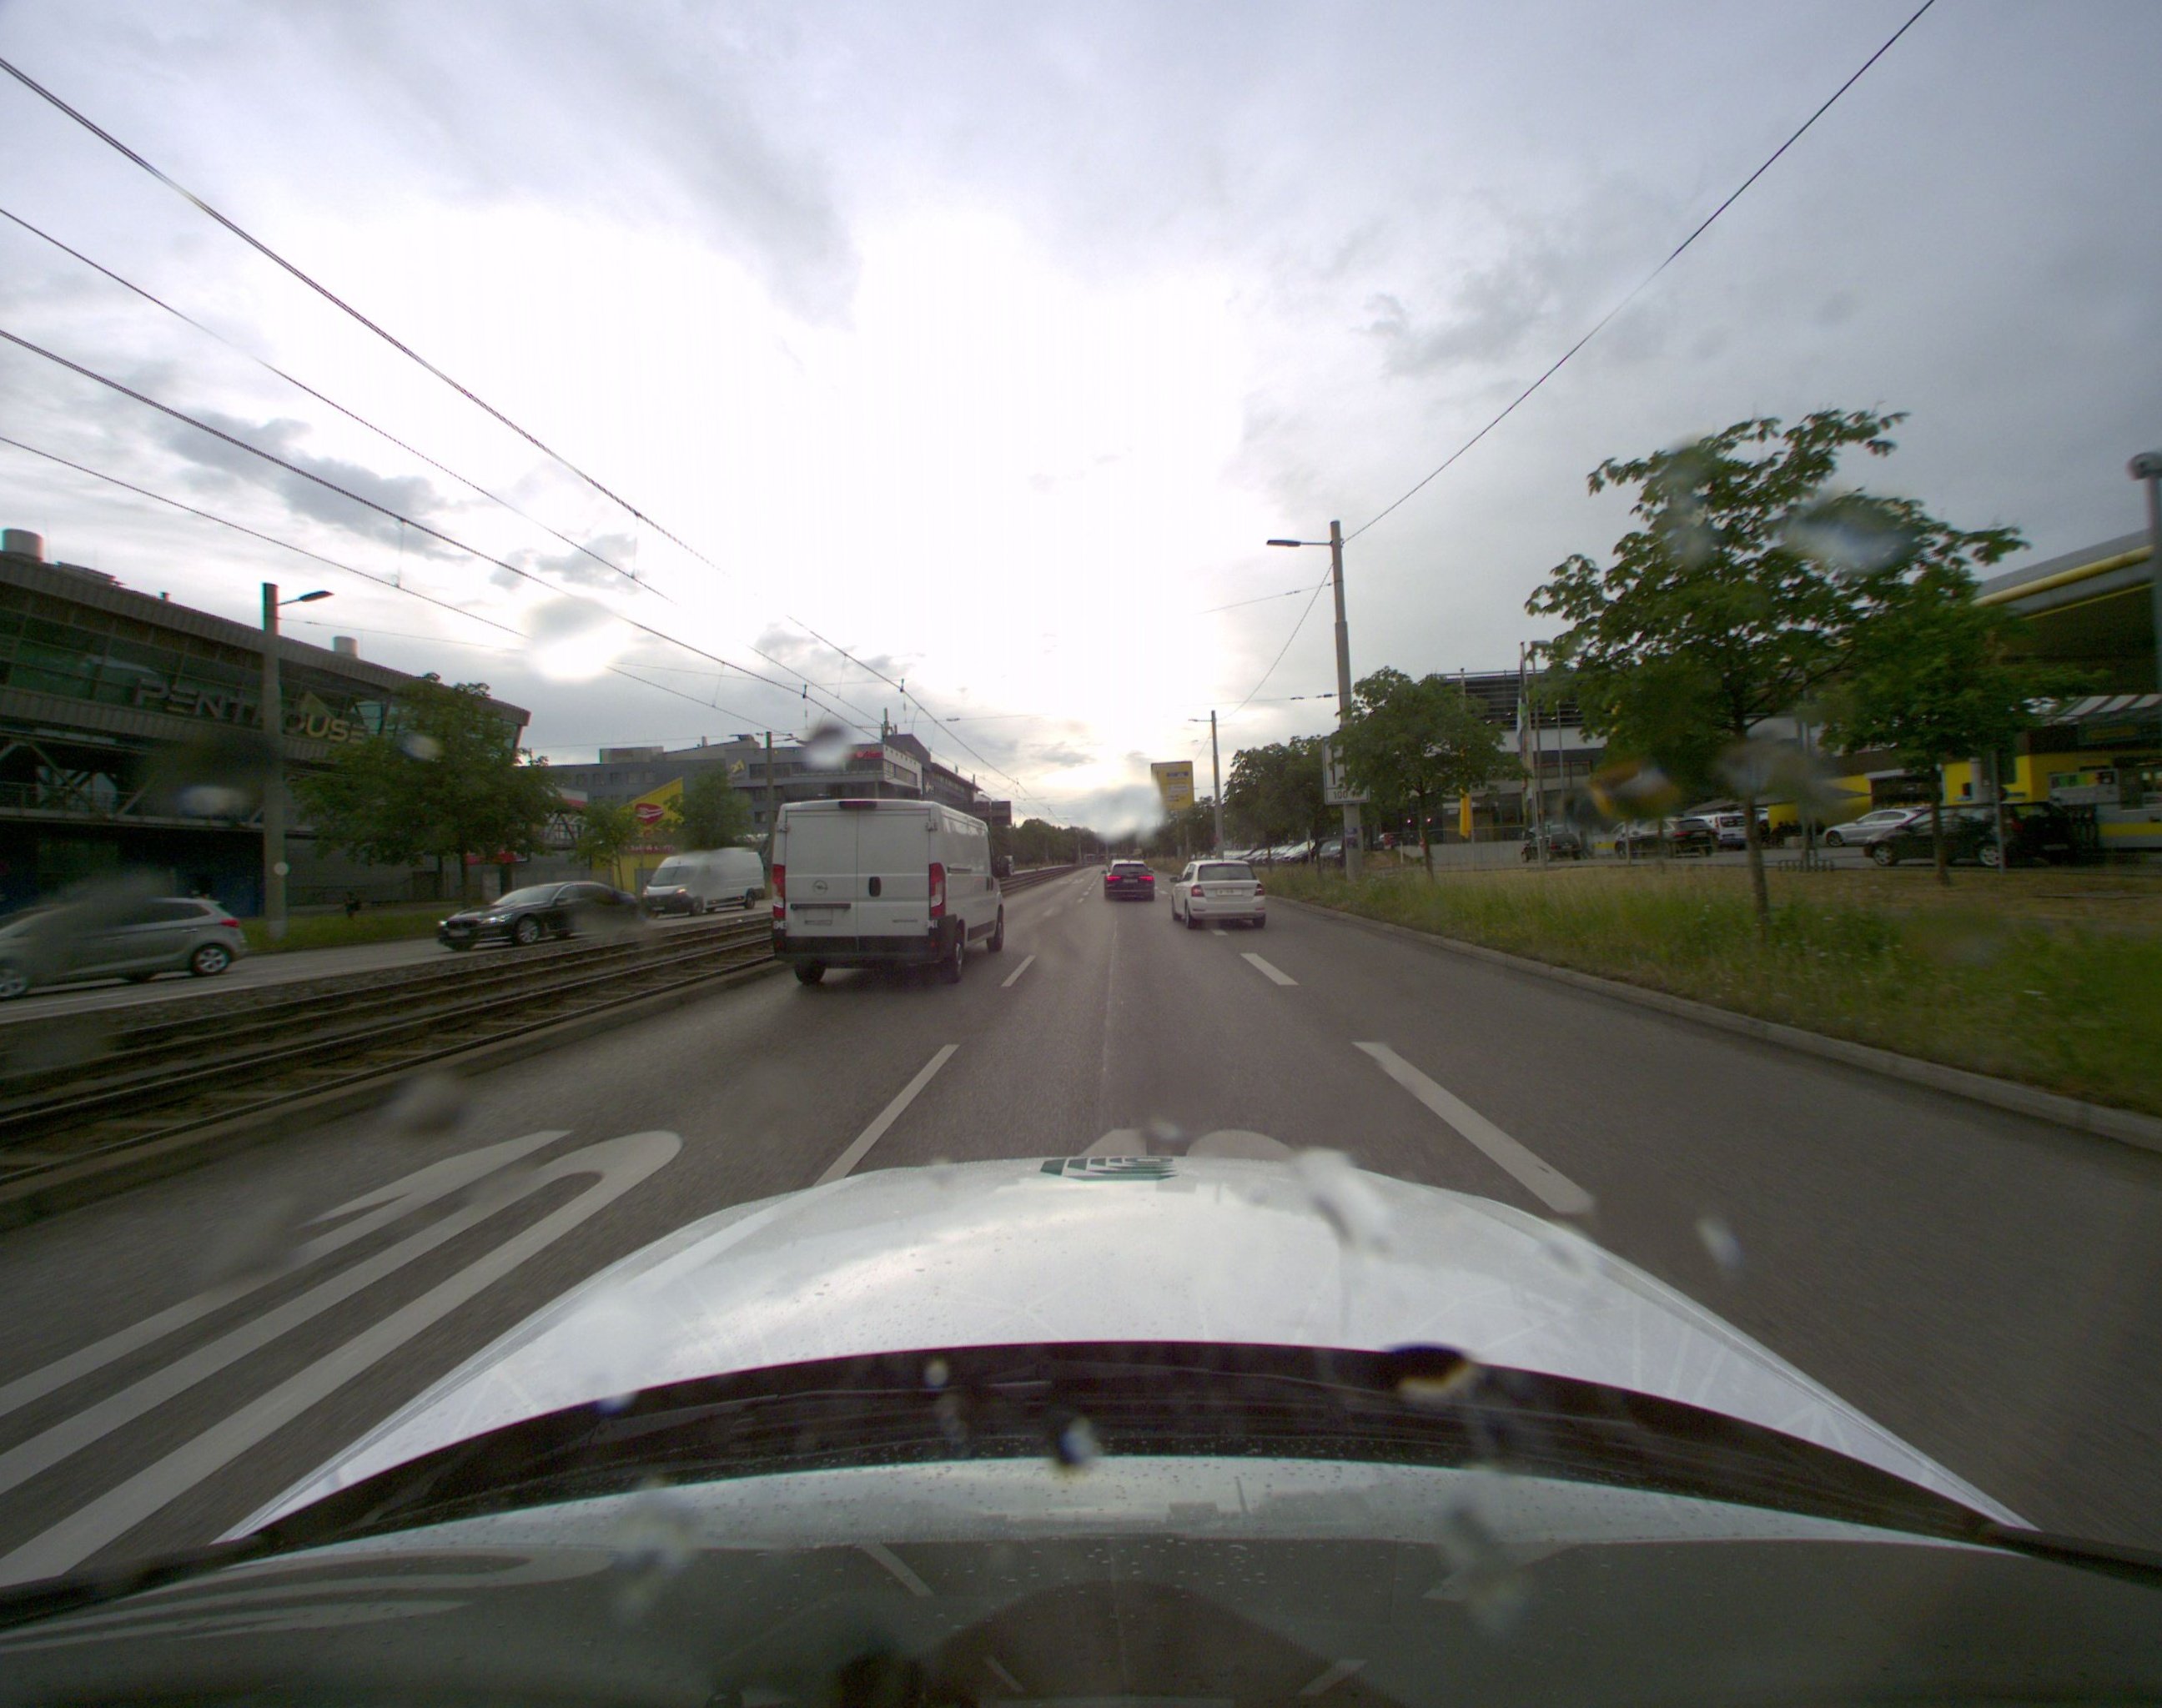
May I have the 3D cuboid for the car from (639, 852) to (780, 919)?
[{"bbox_3d":[-15.168,1.168,33.854,2.201,2.409,6.572,-3,0,6],"label":"car"}]

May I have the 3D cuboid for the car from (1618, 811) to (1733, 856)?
[{"bbox_3d":[25.220,-0.824,34.726,1.986,1.728,4.001,-3,0,2],"label":"car"}]

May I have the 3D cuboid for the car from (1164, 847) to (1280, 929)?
[{"bbox_3d":[3.081,0.735,18.600,1.824,1.656,3.996,0,-1,-2],"label":"car"}]

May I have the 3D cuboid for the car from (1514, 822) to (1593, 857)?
[{"bbox_3d":[24.107,-0.709,41.732,1.785,1.591,4.002,-3,0,2],"label":"car"}]

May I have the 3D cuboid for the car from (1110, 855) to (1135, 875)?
[{"bbox_3d":[3.256,0.873,64.188,1.886,1.465,3.911,-2,-1,3],"label":"car"}]

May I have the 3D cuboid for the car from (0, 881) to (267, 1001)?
[{"bbox_3d":[-18.060,1.526,14.717,1.792,1.784,4.499,-5,0,6],"label":"car"}]

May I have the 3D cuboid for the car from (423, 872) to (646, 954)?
[{"bbox_3d":[-13.370,1.357,20.415,1.791,1.620,4.963,-3,0,6],"label":"car"}]

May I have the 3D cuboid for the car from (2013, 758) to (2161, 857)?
[{"bbox_3d":[23.341,-0.970,17.890,1.673,2.014,3.542,0,-1,1],"label":"car"}]

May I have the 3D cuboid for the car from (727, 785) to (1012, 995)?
[{"bbox_3d":[-2.585,0.395,11.567,2.435,2.294,4.909,1,0,3],"label":"car"}]

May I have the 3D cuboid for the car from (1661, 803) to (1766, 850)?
[{"bbox_3d":[30.659,-1.289,39.629,1.986,2.013,4.001,-3,0,2],"label":"car"}]

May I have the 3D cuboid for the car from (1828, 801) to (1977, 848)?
[{"bbox_3d":[32.824,-1.128,32.729,1.986,1.596,4.001,-3,0,2],"label":"car"}]

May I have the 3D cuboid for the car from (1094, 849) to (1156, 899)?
[{"bbox_3d":[1.537,0.743,29.988,1.988,1.637,3.998,-2,-2,-1],"label":"car"}]
